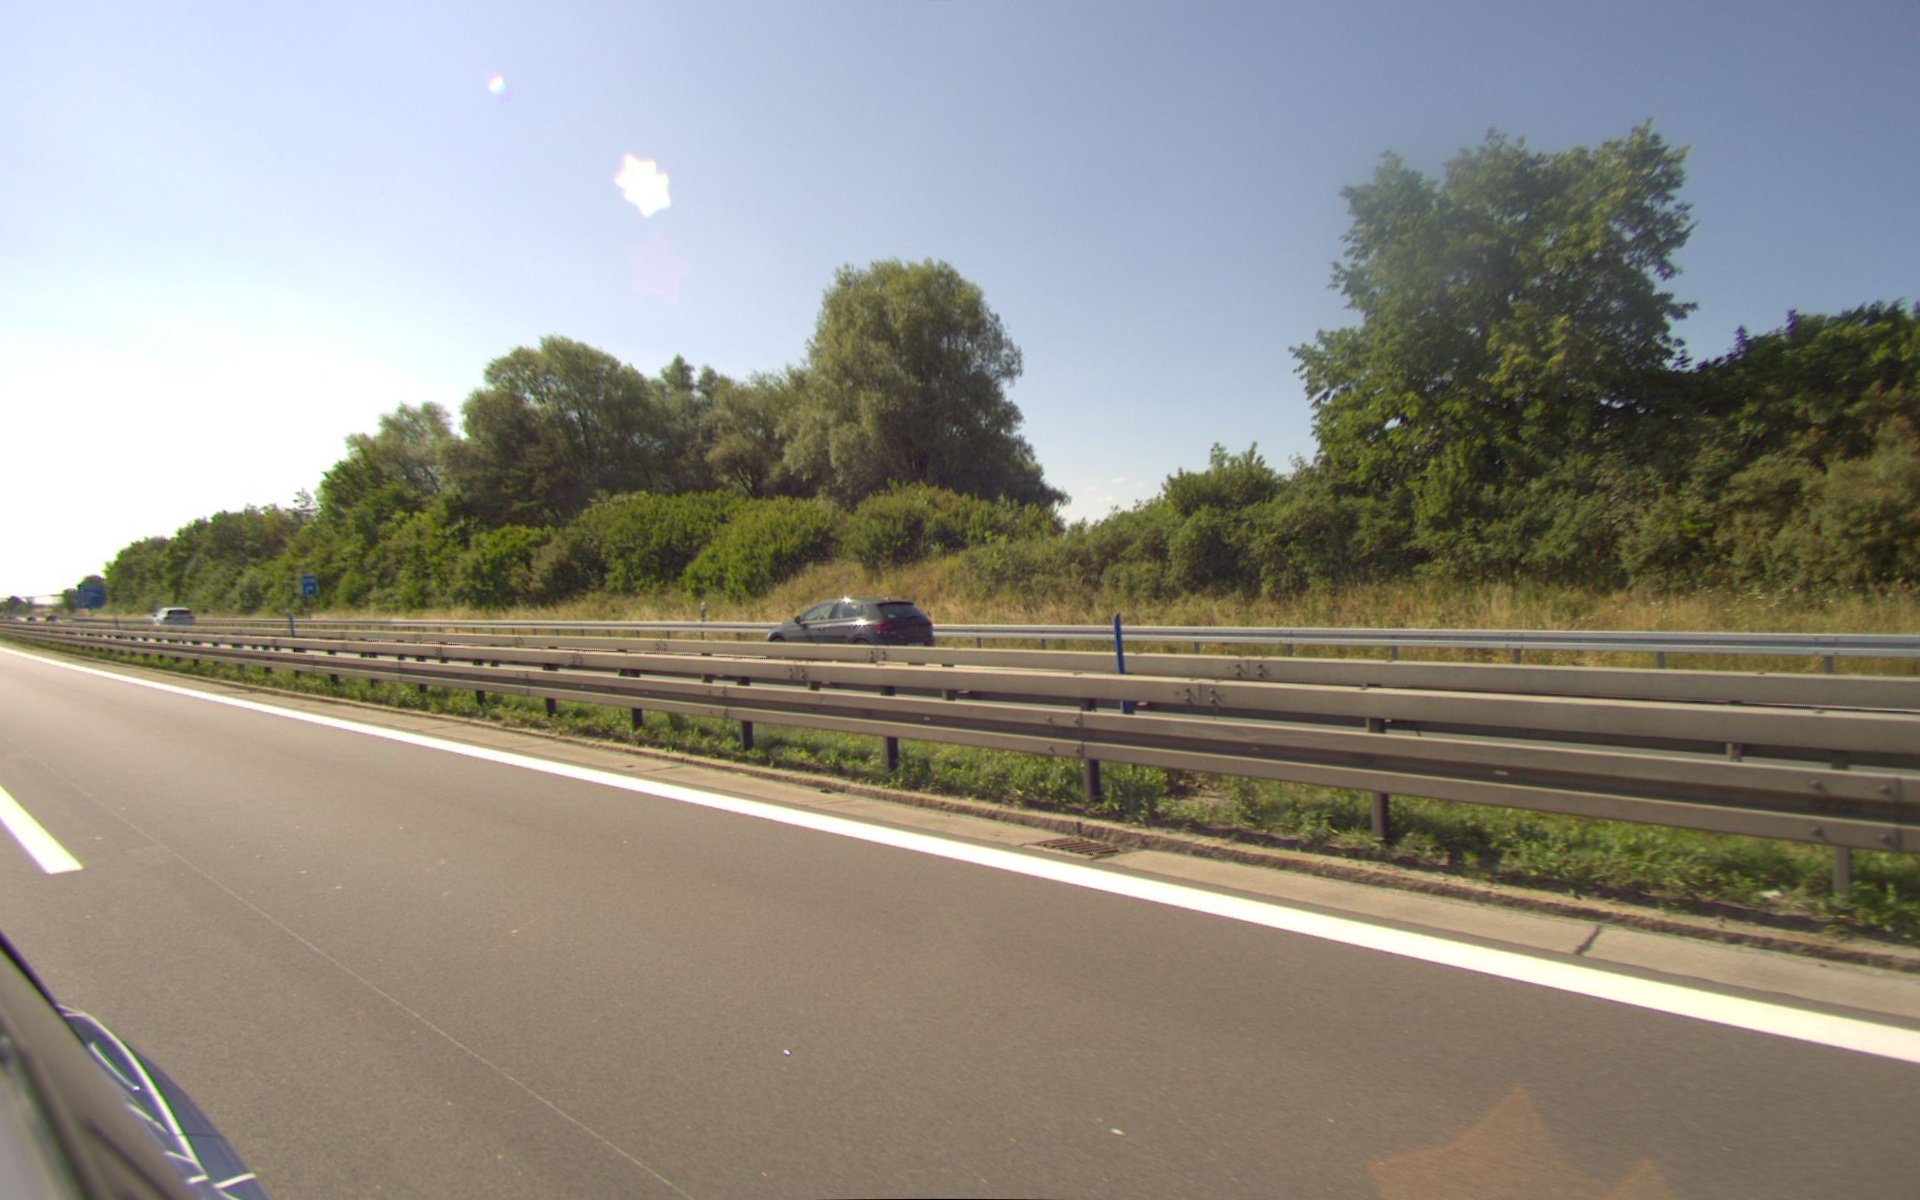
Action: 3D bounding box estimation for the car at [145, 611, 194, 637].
[{"bbox_3d":[-51.262,1.546,65.599,4.579,1.576,1.732,-1,1,42],"label":"car"}]

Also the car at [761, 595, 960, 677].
[{"bbox_3d":[-2.088,0.686,20.528,4.150,1.473,1.562,-1,0,40],"label":"car"}]
